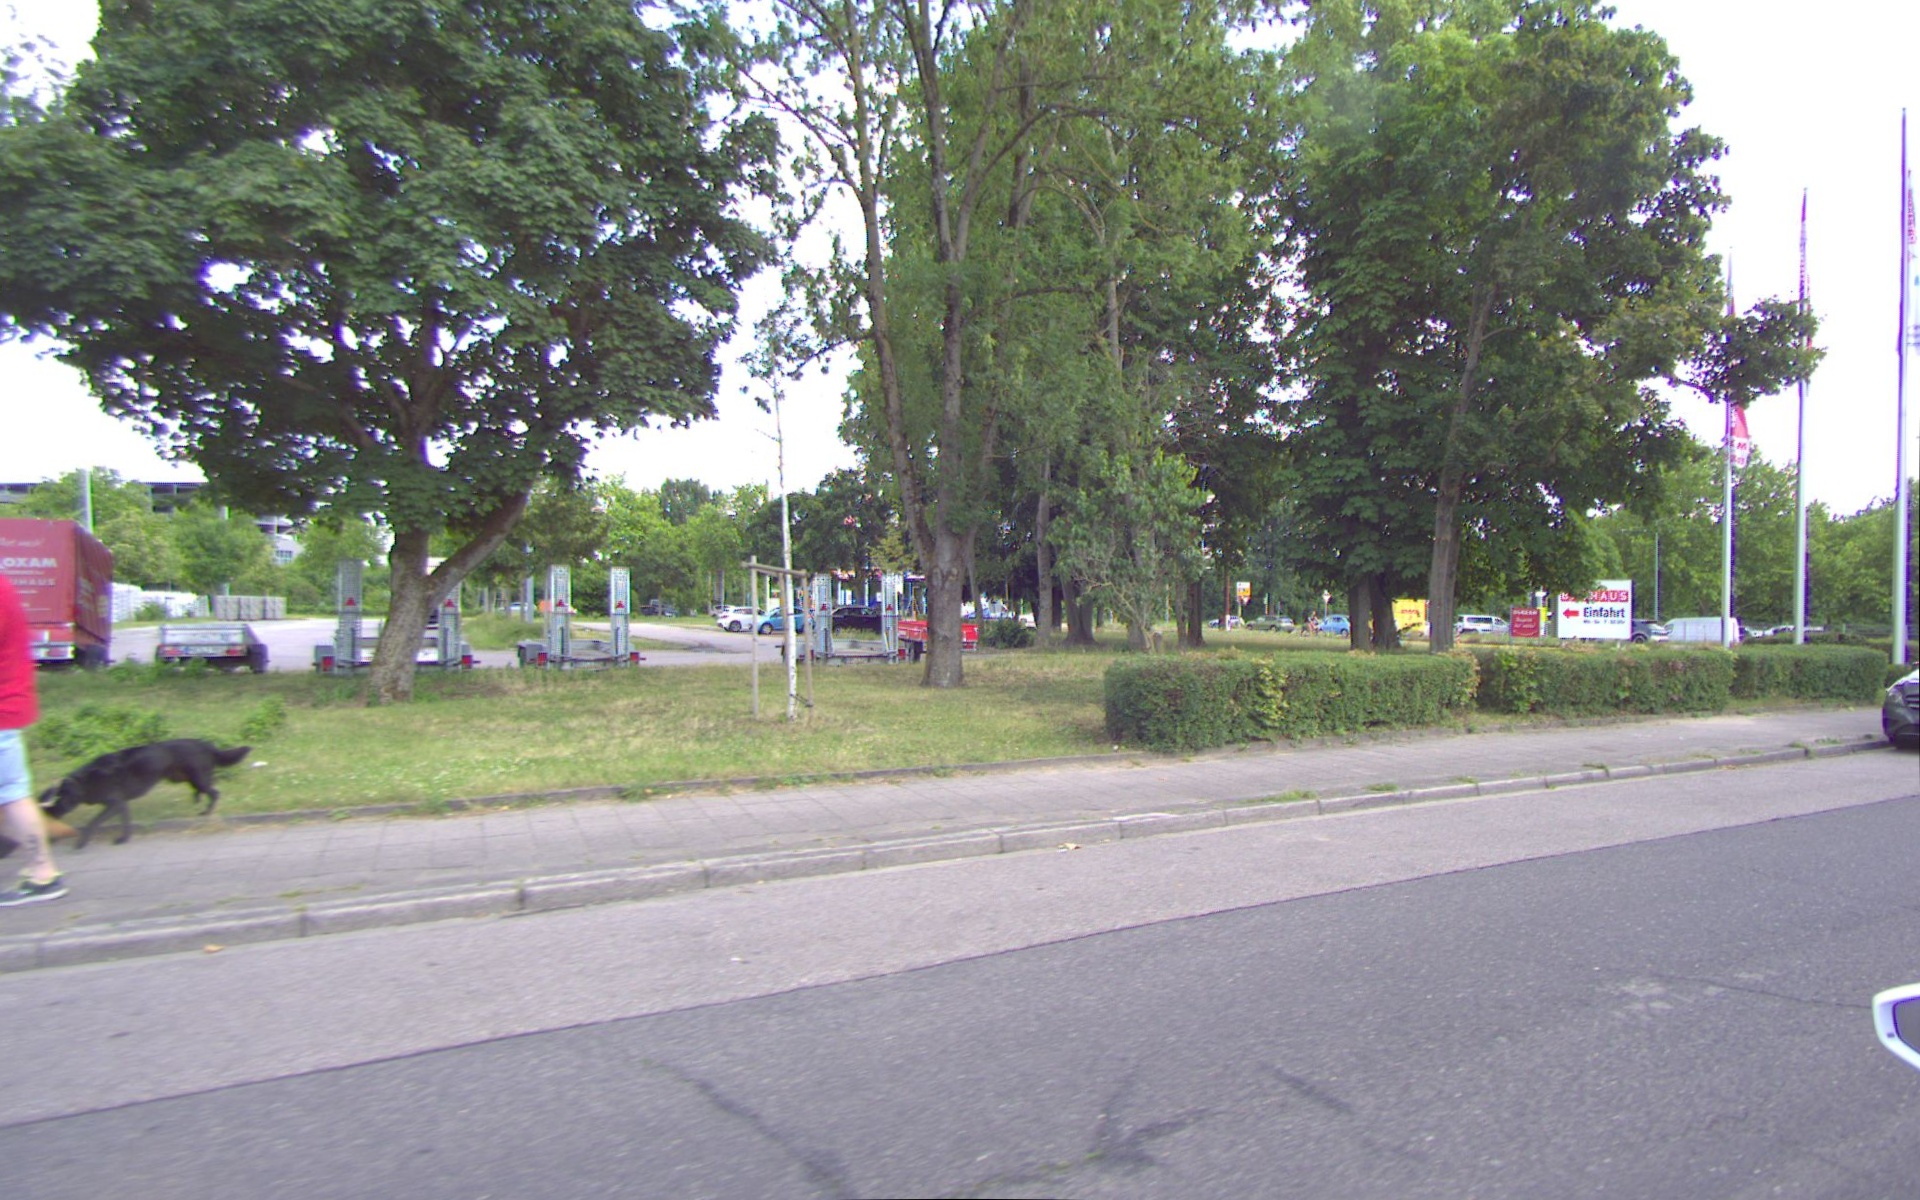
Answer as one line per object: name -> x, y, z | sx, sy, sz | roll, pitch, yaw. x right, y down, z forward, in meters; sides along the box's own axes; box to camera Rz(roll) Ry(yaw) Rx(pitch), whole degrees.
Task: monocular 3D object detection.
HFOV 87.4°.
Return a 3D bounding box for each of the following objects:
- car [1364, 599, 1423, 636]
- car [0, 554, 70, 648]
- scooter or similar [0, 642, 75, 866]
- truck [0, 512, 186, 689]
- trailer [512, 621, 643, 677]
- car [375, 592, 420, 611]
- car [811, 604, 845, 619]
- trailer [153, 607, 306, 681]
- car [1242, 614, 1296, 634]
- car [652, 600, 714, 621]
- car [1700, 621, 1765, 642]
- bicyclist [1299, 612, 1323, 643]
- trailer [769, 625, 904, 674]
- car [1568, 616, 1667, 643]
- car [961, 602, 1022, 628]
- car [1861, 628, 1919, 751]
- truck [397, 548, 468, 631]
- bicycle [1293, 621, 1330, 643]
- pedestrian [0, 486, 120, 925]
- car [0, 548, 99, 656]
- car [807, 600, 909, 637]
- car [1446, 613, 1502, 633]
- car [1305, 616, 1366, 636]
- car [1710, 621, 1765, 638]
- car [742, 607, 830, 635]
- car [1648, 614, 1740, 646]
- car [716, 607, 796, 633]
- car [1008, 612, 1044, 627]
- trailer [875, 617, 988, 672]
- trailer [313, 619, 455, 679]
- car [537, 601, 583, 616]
car -> 32.409, 1.333, 75.259 | 2.161, 2.612, 6.408 | 1, -1, 5
car -> -29.246, -0.079, 28.356 | 5.650, 2.628, 2.258 | 3, -1, -27
scooter or similar -> -5.889, 0.852, 5.644 | 1.259, 1.209, 0.517 | 1, 0, -16
truck -> -15.358, 0.008, 17.498 | 1.756, 2.628, 5.529 | 3, -1, -26
trailer -> -8.077, 0.986, 20.967 | 1.998, 0.925, 4.216 | 3, -1, -28
car -> -59.670, 0.154, 106.499 | 3.919, 2.040, 1.618 | 1, 0, 6
car -> -16.953, 1.495, 129.415 | 3.919, 1.808, 1.893 | 1, 0, 9
trailer -> -13.158, 0.747, 18.335 | 1.651, 1.135, 4.216 | 3, -1, -28
car -> 24.322, 1.870, 79.273 | 1.776, 1.424, 4.000 | 1, 0, -28
car -> -29.102, 1.079, 105.680 | 5.790, 2.104, 2.213 | 1, 0, 7
car -> 69.431, 2.817, 90.358 | 4.213, 1.744, 1.921 | 1, 0, 6
bicyclist -> 18.850, 1.477, 53.921 | 0.726, 1.670, 1.001 | -1, 0, -32
trailer -> -3.059, 1.123, 23.918 | 2.155, 0.925, 4.586 | 0, 0, -21
car -> 36.476, 1.613, 55.843 | 1.900, 1.424, 4.202 | 1, 0, -28
car -> 3.131, 1.453, 98.514 | 5.790, 2.475, 2.213 | 1, 0, 7
car -> 13.292, 1.061, 12.419 | 4.273, 1.438, 1.704 | 1, -3, -26
truck -> -28.193, -0.502, 53.998 | 2.949, 4.001, 8.295 | 3, -1, -26
bicycle -> 18.854, 1.713, 53.900 | 0.722, 1.181, 1.800 | -1, -1, -31
pedestrian -> -4.818, 0.487, 4.934 | 0.874, 2.040, 0.806 | 1, 0, -27
car -> -25.890, -0.051, 24.961 | 6.356, 2.628, 2.258 | 3, -1, -27
car -> -4.550, 0.838, 44.950 | 4.302, 1.531, 1.562 | 1, -1, -28
car -> 47.360, 2.120, 92.587 | 4.175, 1.706, 2.001 | 1, 0, 10
car -> 27.643, 1.902, 74.021 | 1.776, 1.424, 4.000 | 1, 0, -28
car -> 77.068, 2.950, 99.577 | 3.919, 1.577, 1.875 | 1, 0, 6
car -> -9.485, 1.124, 54.768 | 4.355, 1.431, 1.986 | 1, 0, -27
car -> 54.668, 2.216, 74.931 | 1.776, 2.240, 5.261 | 1, -1, -30
car -> -12.155, 1.187, 59.872 | 4.355, 1.431, 1.986 | 1, 0, -27
car -> 7.198, 2.154, 109.141 | 3.831, 1.523, 1.875 | 1, 0, 6
trailer -> -0.802, 1.052, 25.221 | 1.689, 1.206, 3.811 | 0, 0, -21
trailer -> -11.102, 0.912, 19.549 | 2.133, 0.925, 4.216 | 3, -1, -28
car -> -41.450, 0.869, 104.126 | 3.919, 1.532, 1.921 | 1, 0, 6
